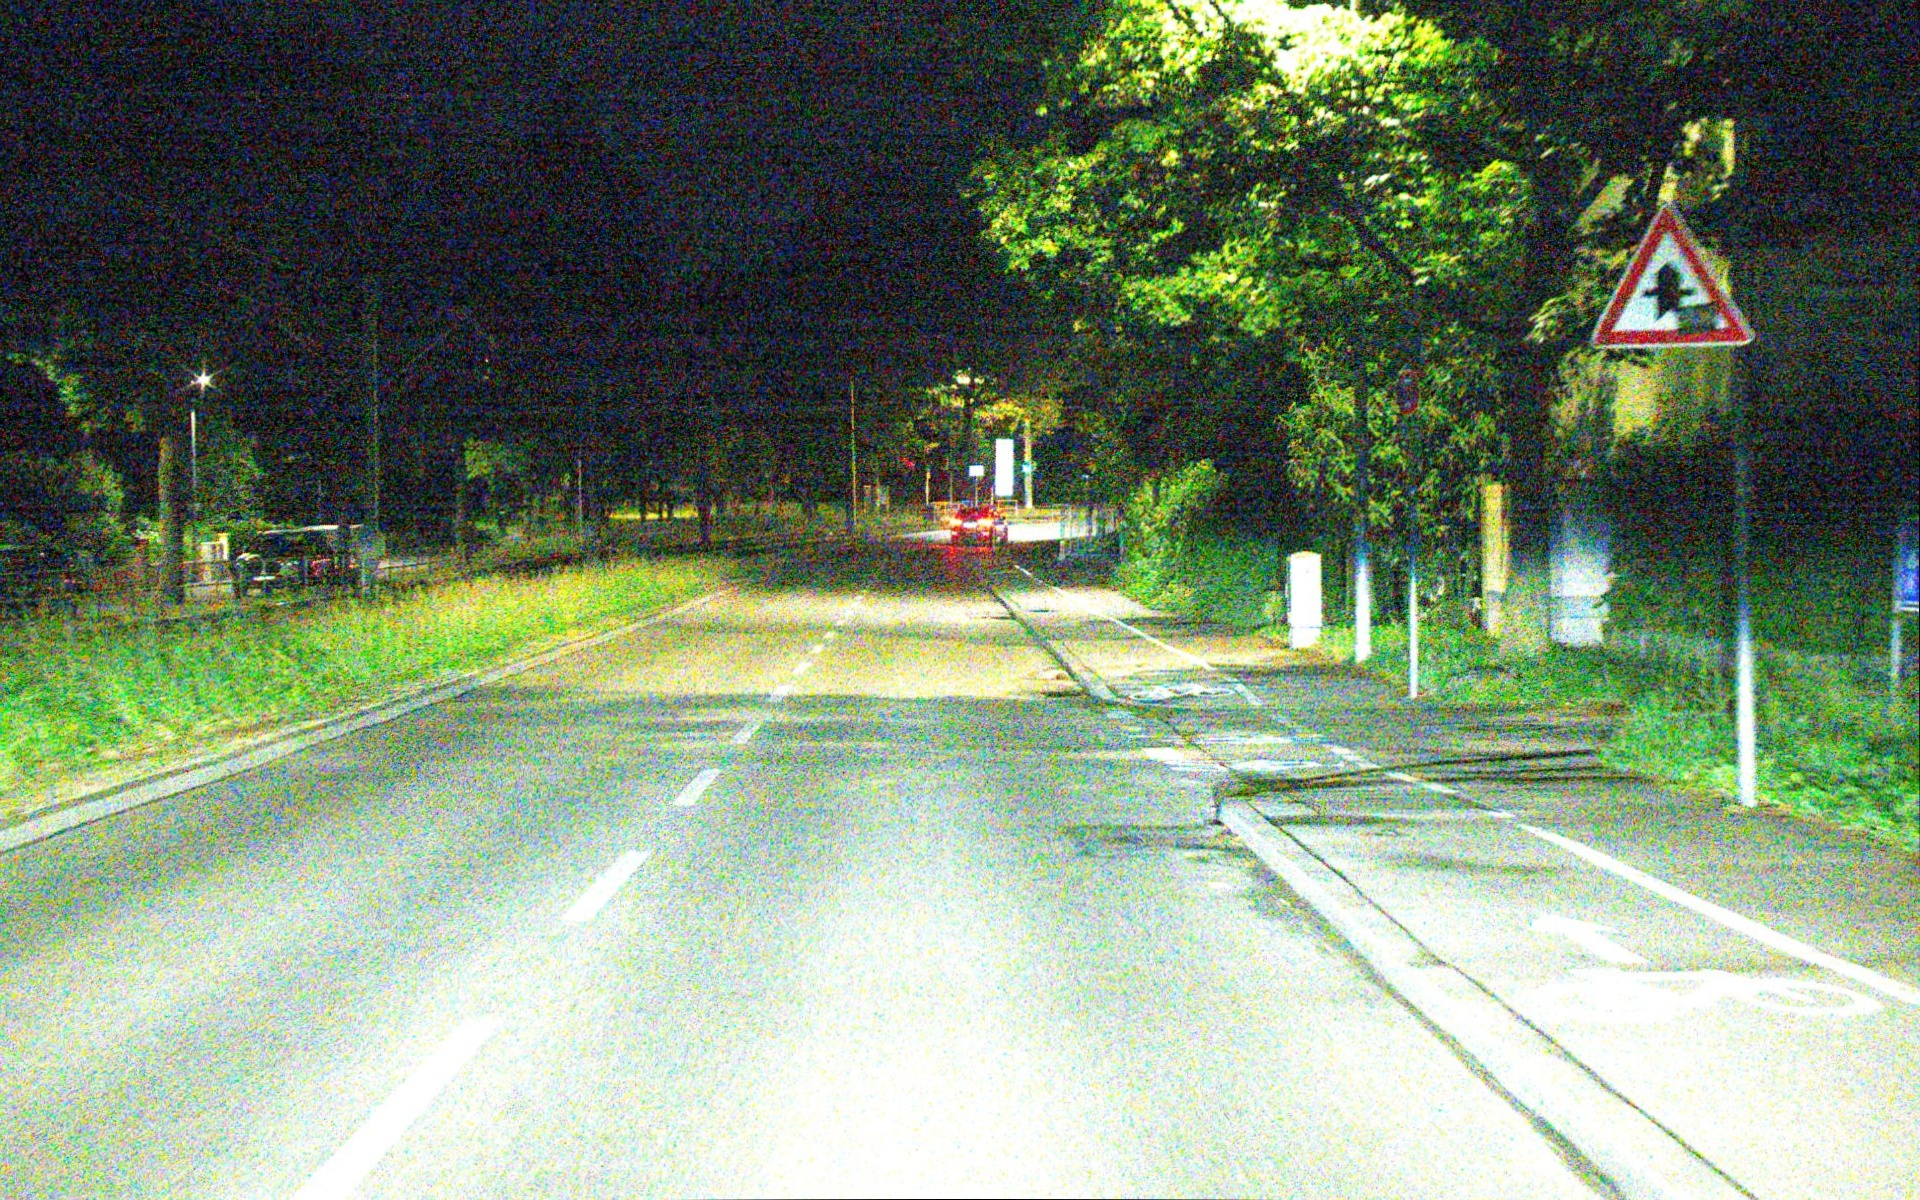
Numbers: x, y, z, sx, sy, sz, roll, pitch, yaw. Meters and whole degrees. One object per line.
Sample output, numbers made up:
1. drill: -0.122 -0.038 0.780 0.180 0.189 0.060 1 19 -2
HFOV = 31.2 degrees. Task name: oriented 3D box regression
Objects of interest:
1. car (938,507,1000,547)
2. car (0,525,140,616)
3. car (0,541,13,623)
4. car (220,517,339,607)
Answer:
1. car: 0.397 -2.992 141.329 2.162 1.577 4.012 0 1 6
2. car: -15.825 -0.540 60.323 1.993 1.525 4.001 -1 1 -2
3. car: -16.631 -0.255 54.239 1.993 1.333 5.432 0 1 -2
4. car: -16.809 -0.967 85.071 2.091 2.006 4.001 -4 2 -1
